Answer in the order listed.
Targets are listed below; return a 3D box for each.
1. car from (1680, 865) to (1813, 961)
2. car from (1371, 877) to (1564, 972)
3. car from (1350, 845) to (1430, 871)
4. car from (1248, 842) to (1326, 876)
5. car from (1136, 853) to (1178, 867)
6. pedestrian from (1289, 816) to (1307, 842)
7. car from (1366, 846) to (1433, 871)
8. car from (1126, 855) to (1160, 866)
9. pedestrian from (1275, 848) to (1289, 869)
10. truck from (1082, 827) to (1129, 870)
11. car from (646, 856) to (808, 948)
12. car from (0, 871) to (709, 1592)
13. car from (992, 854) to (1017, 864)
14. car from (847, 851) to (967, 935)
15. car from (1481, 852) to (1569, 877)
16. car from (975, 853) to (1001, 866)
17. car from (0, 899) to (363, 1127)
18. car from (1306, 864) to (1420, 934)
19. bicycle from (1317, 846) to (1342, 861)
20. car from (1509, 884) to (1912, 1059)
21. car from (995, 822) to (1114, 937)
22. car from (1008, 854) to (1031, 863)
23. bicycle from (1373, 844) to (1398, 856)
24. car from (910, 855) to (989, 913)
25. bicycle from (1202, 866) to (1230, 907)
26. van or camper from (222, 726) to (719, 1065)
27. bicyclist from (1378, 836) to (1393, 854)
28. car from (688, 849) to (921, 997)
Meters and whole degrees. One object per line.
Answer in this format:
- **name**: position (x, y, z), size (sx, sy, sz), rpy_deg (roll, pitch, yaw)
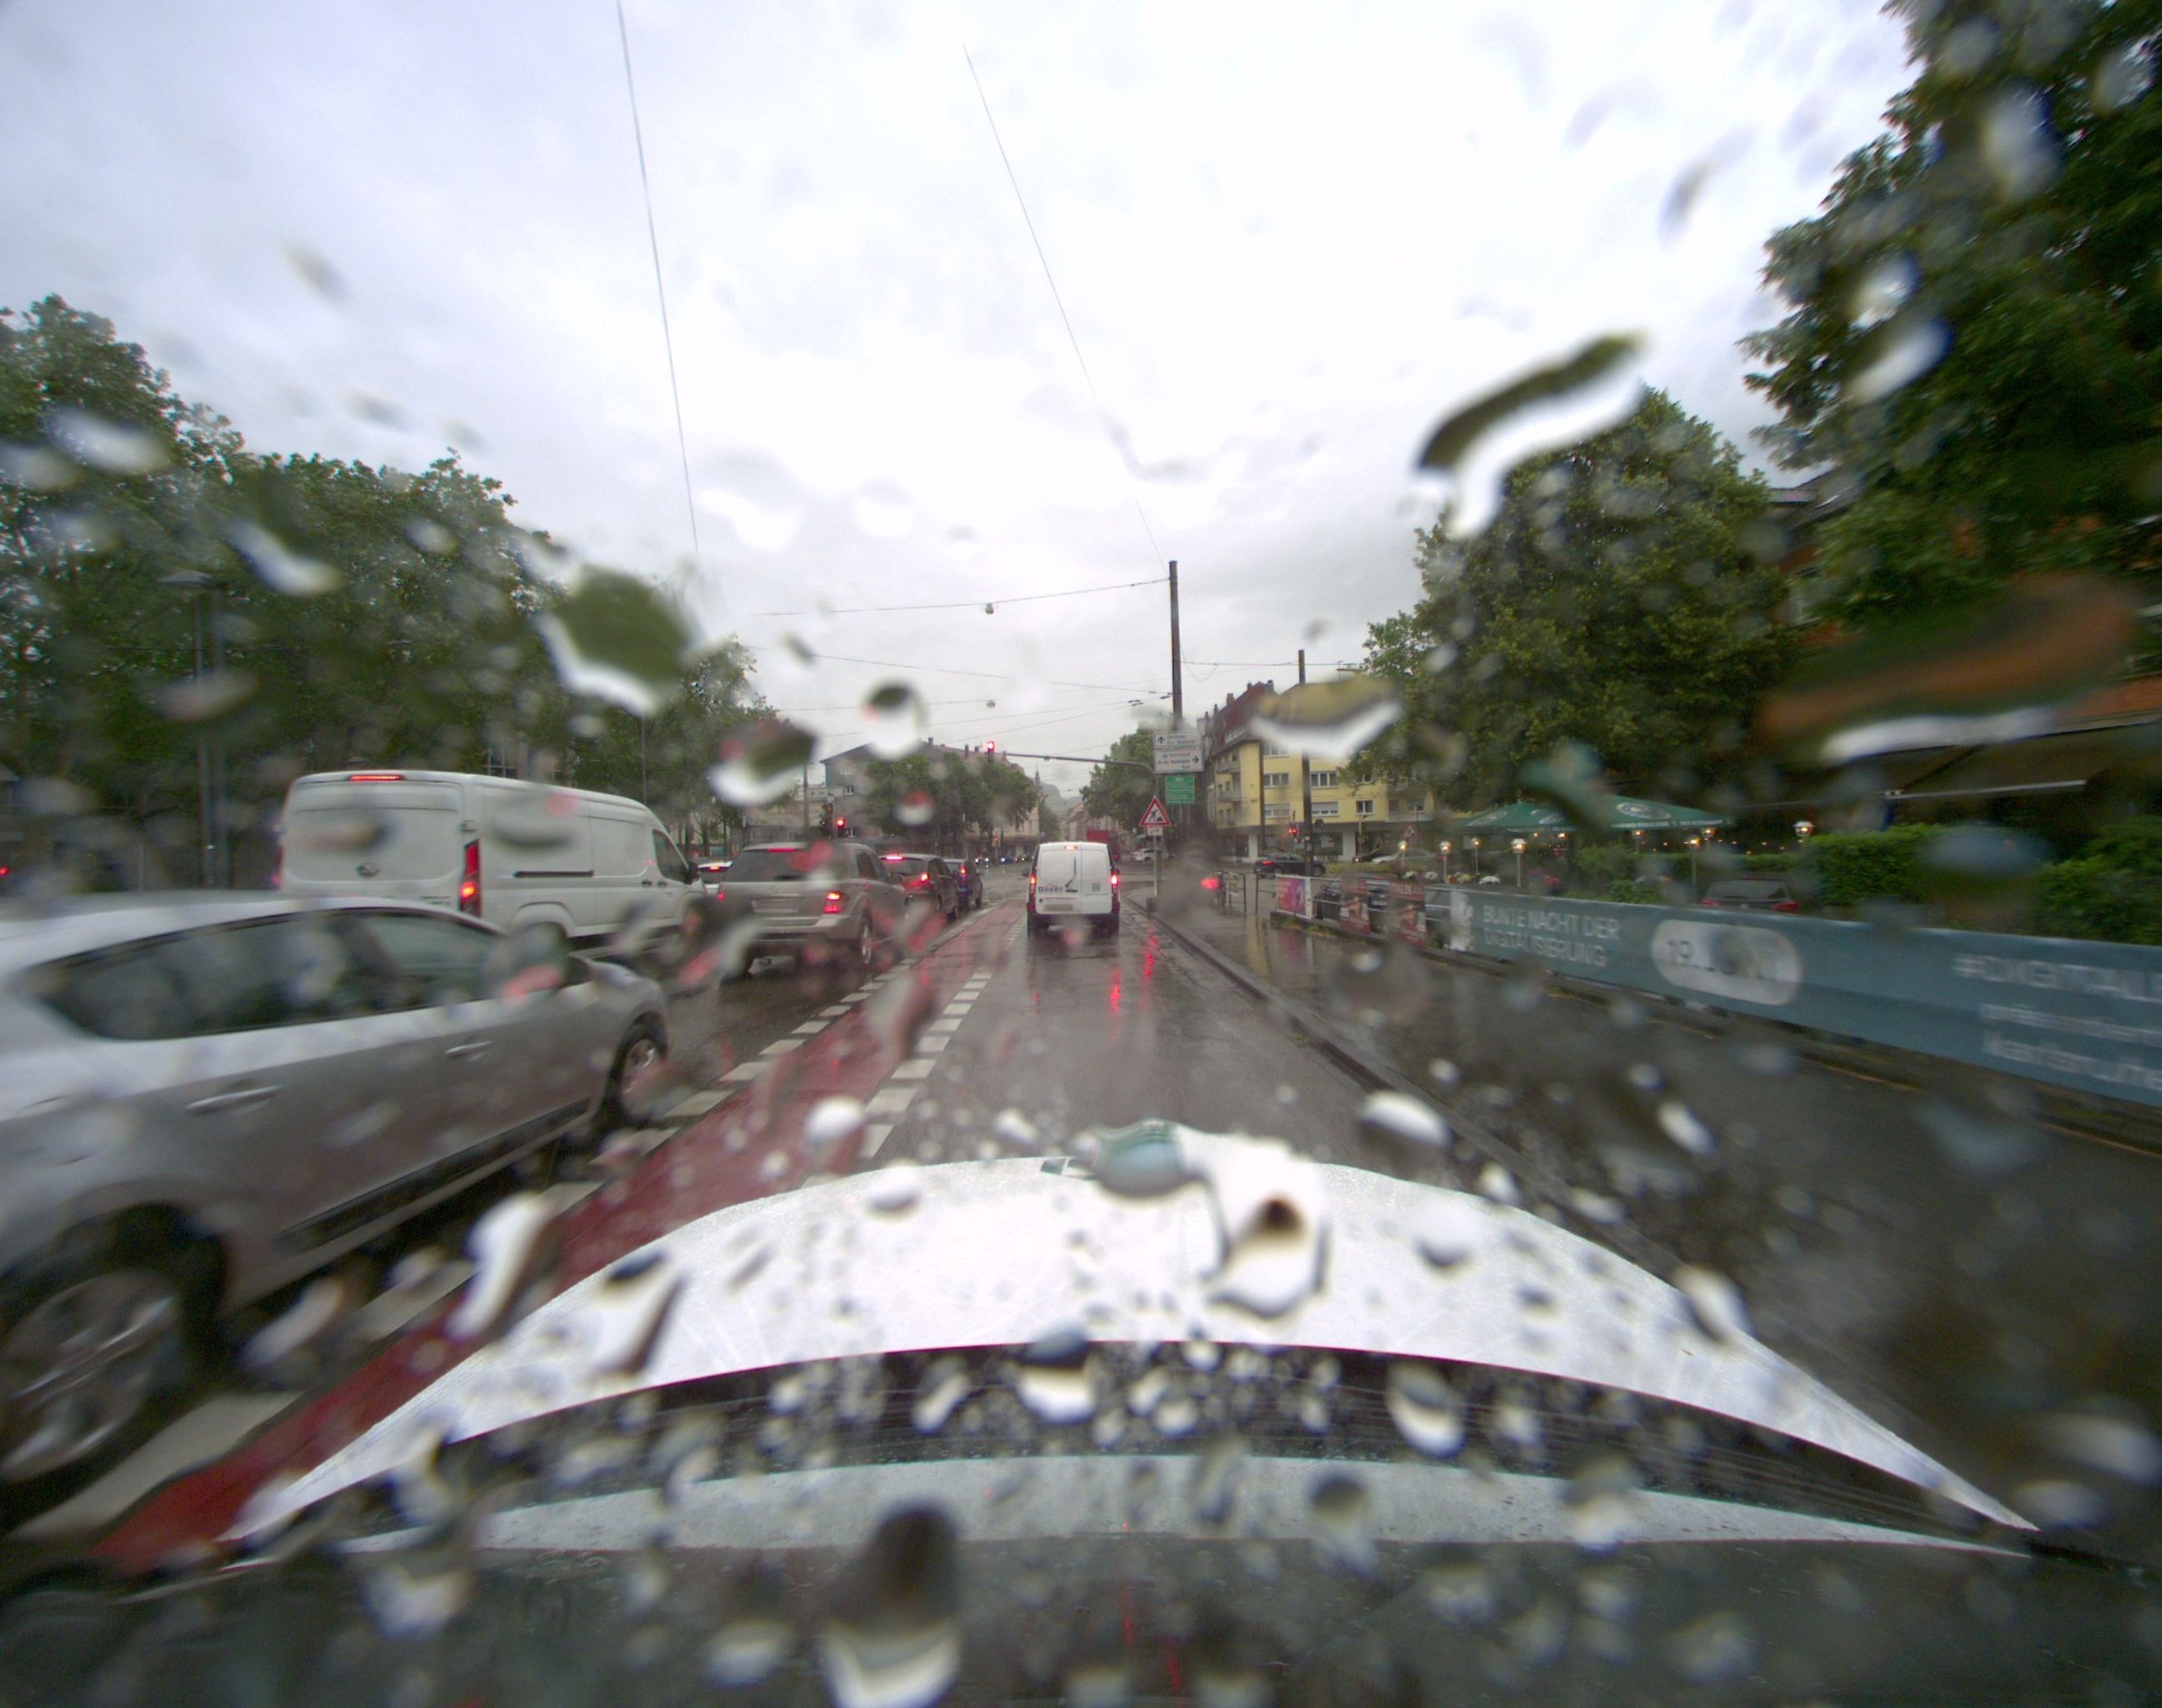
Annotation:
- **car**: position (14.055, 1.134, 17.325), size (1.974, 1.713, 4.025), rpy_deg (-1, 0, 38)
- **car**: position (6.910, 1.193, 15.050), size (1.697, 1.400, 3.972), rpy_deg (-1, 0, 0)
- **car**: position (21.390, 0.287, 56.529), size (4.905, 1.643, 2.006), rpy_deg (-1, -3, 11)
- **car**: position (11.925, 0.278, 47.260), size (3.986, 1.866, 1.993), rpy_deg (-1, 0, -10)
- **car**: position (8.055, 0.585, 86.620), size (4.163, 1.339, 1.517), rpy_deg (-1, 1, -8)
- **pedestrian**: position (14.150, -1.627, 53.024), size (0.896, 1.669, 1.026), rpy_deg (-1, 0, 27)
- **car**: position (20.863, 0.290, 53.477), size (3.908, 1.490, 1.814), rpy_deg (-1, 1, 15)
- **car**: position (6.725, 0.661, 88.497), size (3.440, 1.130, 1.467), rpy_deg (-1, 0, -8)
- **pedestrian**: position (14.989, 0.339, 60.642), size (0.820, 1.534, 0.615), rpy_deg (0, -1, -39)
- **truck**: position (3.336, -0.670, 104.304), size (3.447, 5.087, 15.353), rpy_deg (-1, 0, 11)
- **car**: position (-7.105, 0.875, 16.780), size (1.640, 1.629, 3.835), rpy_deg (-2, 0, 0)
- **car**: position (-3.226, 0.850, 3.184), size (1.763, 1.477, 3.999), rpy_deg (-1, 0, -1)
- **car**: position (-10.534, 0.654, 112.543), size (1.936, 1.239, 4.018), rpy_deg (-1, 1, 17)
- **car**: position (-3.790, 0.791, 18.440), size (1.829, 1.668, 4.171), rpy_deg (-1, 0, 0)
- **car**: position (25.170, 0.589, 46.307), size (3.961, 1.332, 2.006), rpy_deg (-1, 0, 11)
- **car**: position (-12.197, 0.700, 106.637), size (1.936, 1.607, 4.018), rpy_deg (-1, 1, 17)
- **car**: position (-6.617, 0.932, 4.657), size (1.459, 1.117, 4.085), rpy_deg (-1, 0, -1)
- **car**: position (6.983, 1.051, 20.539), size (1.699, 1.442, 3.526), rpy_deg (2, 1, 2)
- **bicycle**: position (22.275, -0.027, 73.047), size (2.086, 1.261, 0.534), rpy_deg (-1, 1, 14)
- **car**: position (7.232, 1.218, 10.000), size (1.727, 1.539, 4.072), rpy_deg (0, 0, -2)
- **car**: position (-0.487, 0.470, 17.074), size (2.094, 2.012, 4.961), rpy_deg (-1, 0, 0)
- **car**: position (-9.048, 0.640, 120.194), size (1.936, 1.239, 4.018), rpy_deg (-1, 1, 17)
- **bicycle**: position (26.297, -0.332, 70.358), size (2.004, 1.027, 0.661), rpy_deg (-1, 0, 12)
- **car**: position (-3.821, 0.827, 24.277), size (1.722, 1.578, 3.819), rpy_deg (-1, 0, 0)
- **bicycle**: position (4.061, 0.957, 24.576), size (0.512, 1.107, 2.017), rpy_deg (2, 0, 1)
- **van or camper**: position (-7.040, 0.379, 10.604), size (2.152, 3.141, 5.847), rpy_deg (-1, 0, -2)
- **bicyclist**: position (26.281, -0.747, 70.384), size (1.059, 1.547, 0.939), rpy_deg (-1, 0, 11)
- **car**: position (-3.794, 0.840, 12.140), size (2.019, 1.770, 4.460), rpy_deg (-1, 0, -1)
